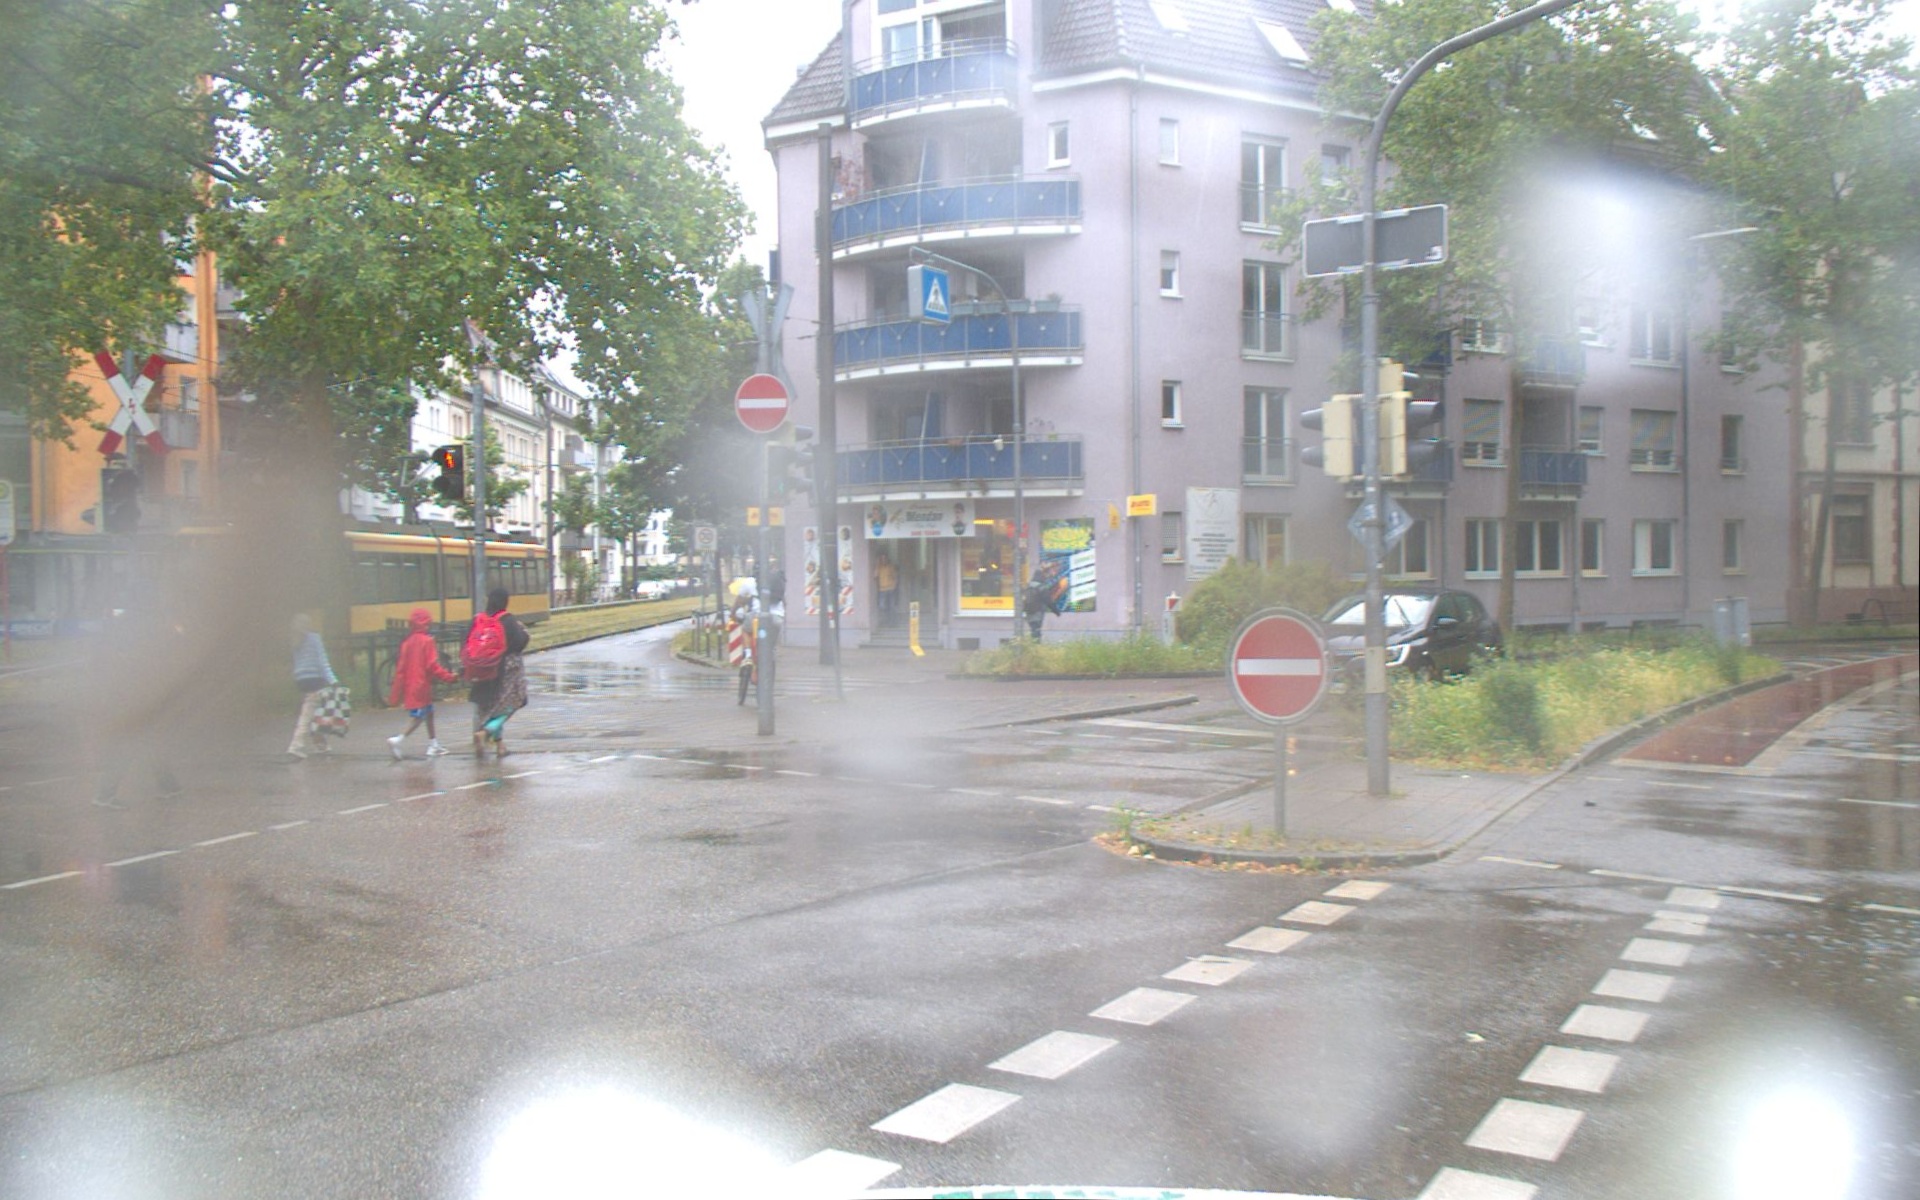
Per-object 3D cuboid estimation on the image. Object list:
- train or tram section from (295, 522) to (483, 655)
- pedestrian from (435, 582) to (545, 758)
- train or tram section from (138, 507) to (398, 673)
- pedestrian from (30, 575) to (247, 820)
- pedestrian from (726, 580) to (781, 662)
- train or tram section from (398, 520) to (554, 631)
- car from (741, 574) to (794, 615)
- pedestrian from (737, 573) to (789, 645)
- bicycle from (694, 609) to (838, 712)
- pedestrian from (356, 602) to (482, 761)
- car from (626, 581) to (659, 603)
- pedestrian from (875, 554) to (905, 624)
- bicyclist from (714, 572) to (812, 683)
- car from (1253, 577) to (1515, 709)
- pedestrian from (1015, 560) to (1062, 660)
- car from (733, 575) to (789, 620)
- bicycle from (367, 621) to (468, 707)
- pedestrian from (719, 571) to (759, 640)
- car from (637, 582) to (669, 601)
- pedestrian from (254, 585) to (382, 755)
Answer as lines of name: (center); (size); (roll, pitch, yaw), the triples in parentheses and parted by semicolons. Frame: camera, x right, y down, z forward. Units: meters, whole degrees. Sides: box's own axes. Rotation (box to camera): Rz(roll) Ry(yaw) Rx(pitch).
train or tram section: (-15.926, -0.357, 46.844); (2.584, 3.409, 8.374); (0, 1, -2)
pedestrian: (-4.359, 0.638, 15.389); (0.675, 1.574, 0.762); (-1, 1, 11)
train or tram section: (-15.764, -0.260, 38.481); (2.584, 3.428, 8.376); (0, 1, -1)
pedestrian: (-6.154, 0.688, 12.427); (0.974, 1.715, 1.055); (0, 2, 28)
pedestrian: (-4.052, 0.404, 32.556); (0.971, 1.586, 0.784); (-1, 1, -2)
train or tram section: (-16.159, -0.818, 56.021); (2.584, 3.409, 9.985); (0, 1, -2)
car: (-8.242, -0.261, 71.034); (1.954, 1.702, 3.998); (-1, 1, -3)
pedestrian: (-5.094, 0.208, 42.698); (1.146, 1.819, 0.889); (-1, 1, -21)
bicycle: (-2.473, 0.733, 20.880); (0.747, 1.193, 2.008); (-2, 2, -43)
pedestrian: (-5.093, 0.748, 15.622); (0.657, 1.405, 1.011); (-1, 2, 14)
car: (-22.376, -0.586, 116.760); (1.955, 1.559, 3.995); (0, 1, -6)
pedestrian: (-1.630, -0.261, 38.515); (0.462, 1.630, 0.593); (0, 1, 23)
bicyclist: (-2.491, 0.328, 20.882); (0.737, 1.332, 1.060); (-2, 2, -43)
car: (5.565, 0.463, 21.362); (1.954, 1.486, 4.163); (0, 1, 35)
pedestrian: (1.481, 0.177, 31.021); (0.629, 1.835, 0.620); (0, 2, 32)
car: (-7.919, -0.116, 66.114); (1.954, 1.702, 3.998); (-1, 1, -3)
bicycle: (-7.533, 0.867, 23.016); (0.435, 1.095, 1.619); (0, 1, 19)
pedestrian: (-5.682, 0.139, 42.582); (0.934, 1.727, 0.921); (-1, 1, -3)
car: (-22.736, -0.638, 122.540); (1.955, 1.422, 3.995); (0, 1, -6)
pedestrian: (-6.170, 0.646, 15.947); (0.859, 1.552, 1.064); (-1, 1, -5)
